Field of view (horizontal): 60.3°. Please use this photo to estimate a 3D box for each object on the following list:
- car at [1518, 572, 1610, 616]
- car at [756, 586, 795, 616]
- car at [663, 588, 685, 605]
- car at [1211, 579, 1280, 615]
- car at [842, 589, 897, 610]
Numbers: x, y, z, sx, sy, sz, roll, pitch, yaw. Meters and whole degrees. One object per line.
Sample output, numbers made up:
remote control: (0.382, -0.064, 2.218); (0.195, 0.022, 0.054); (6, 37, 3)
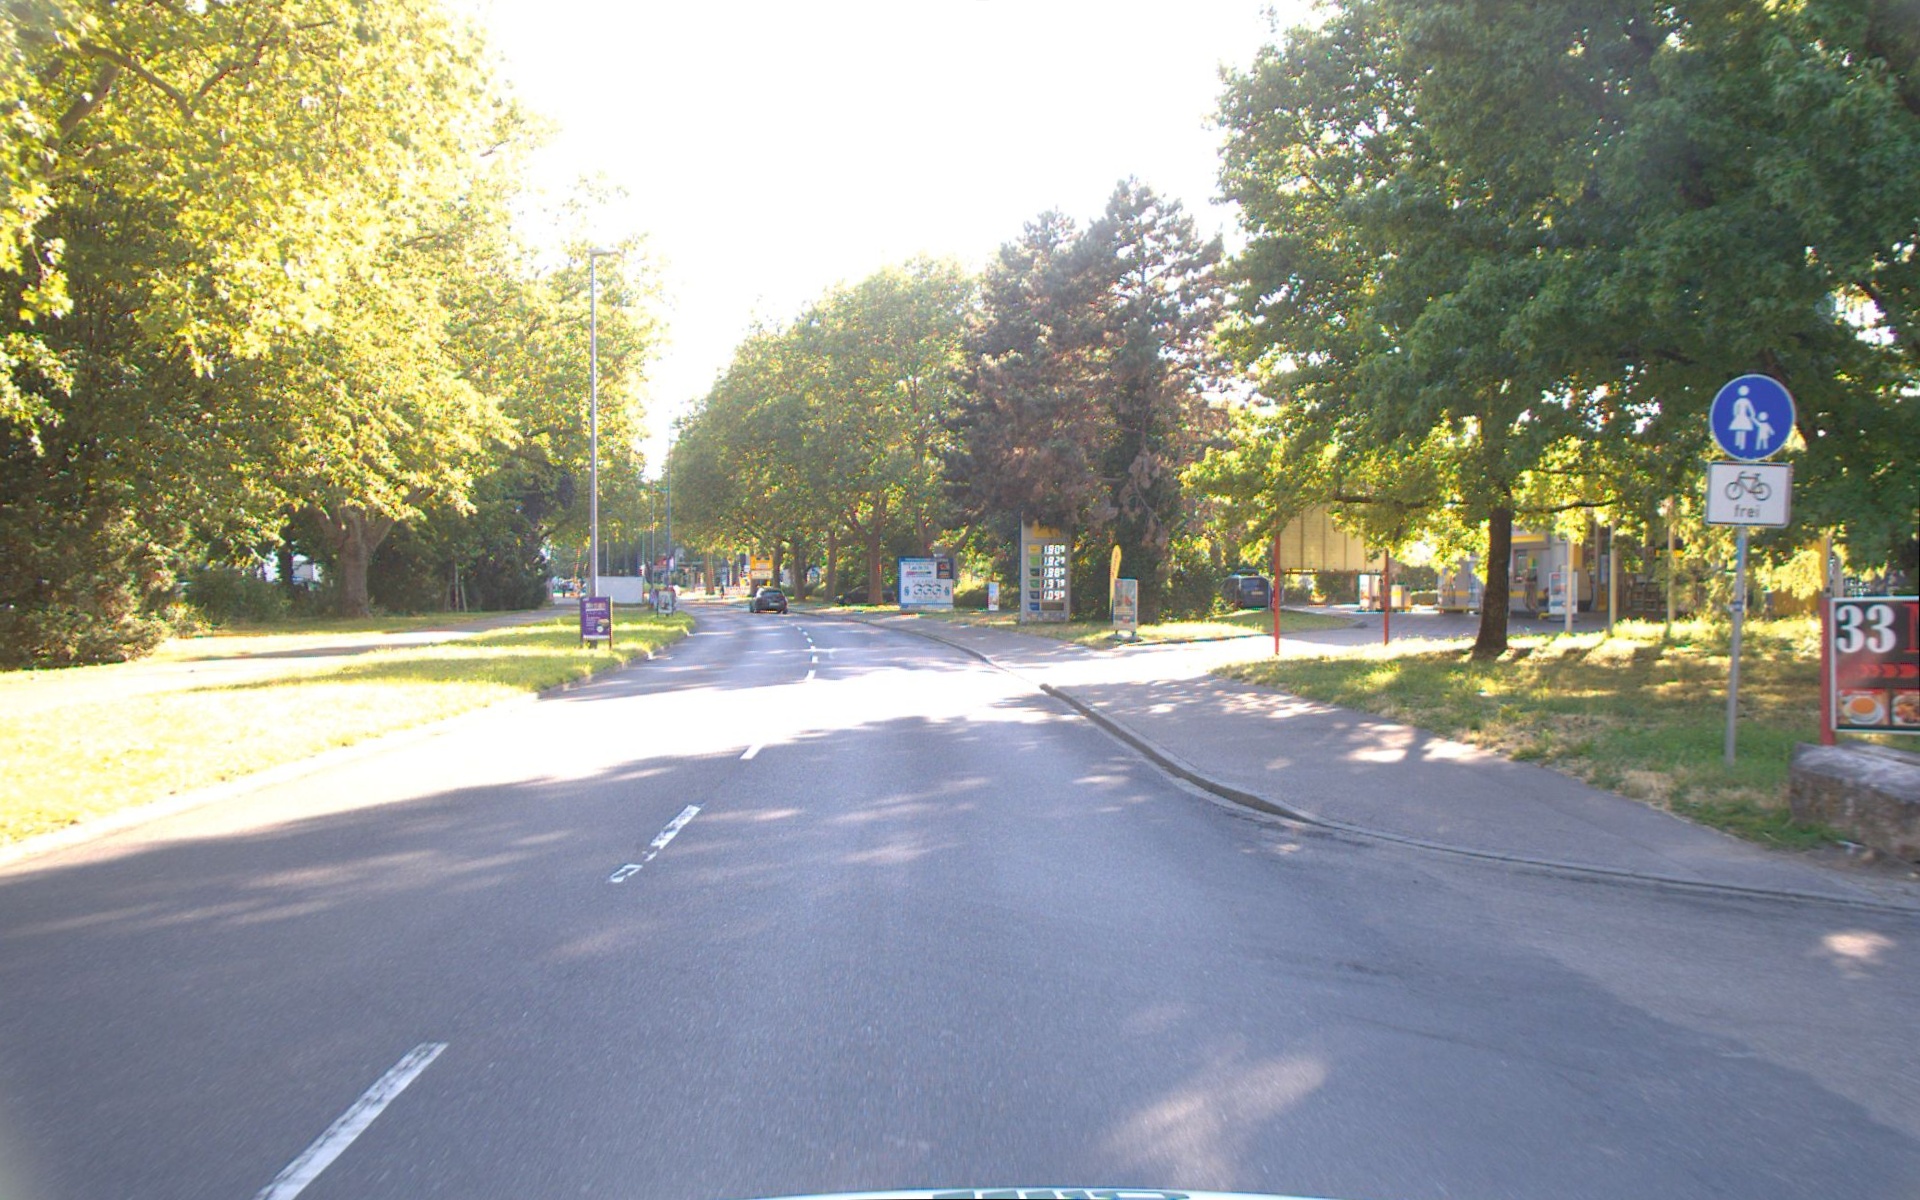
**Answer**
car: (25.184, -0.276, 69.138); (1.778, 1.758, 4.391); (0, 1, -7)
car: (-10.452, 0.054, 94.003); (1.802, 1.633, 3.862); (0, 0, 0)
car: (-35.609, -0.484, 206.113); (1.952, 2.049, 4.001); (0, 1, 2)
car: (11.597, -0.143, 67.357); (1.805, 1.445, 3.996); (0, 1, -5)
car: (-6.761, -0.063, 123.134); (3.916, 1.468, 1.755); (-1, 0, -12)
